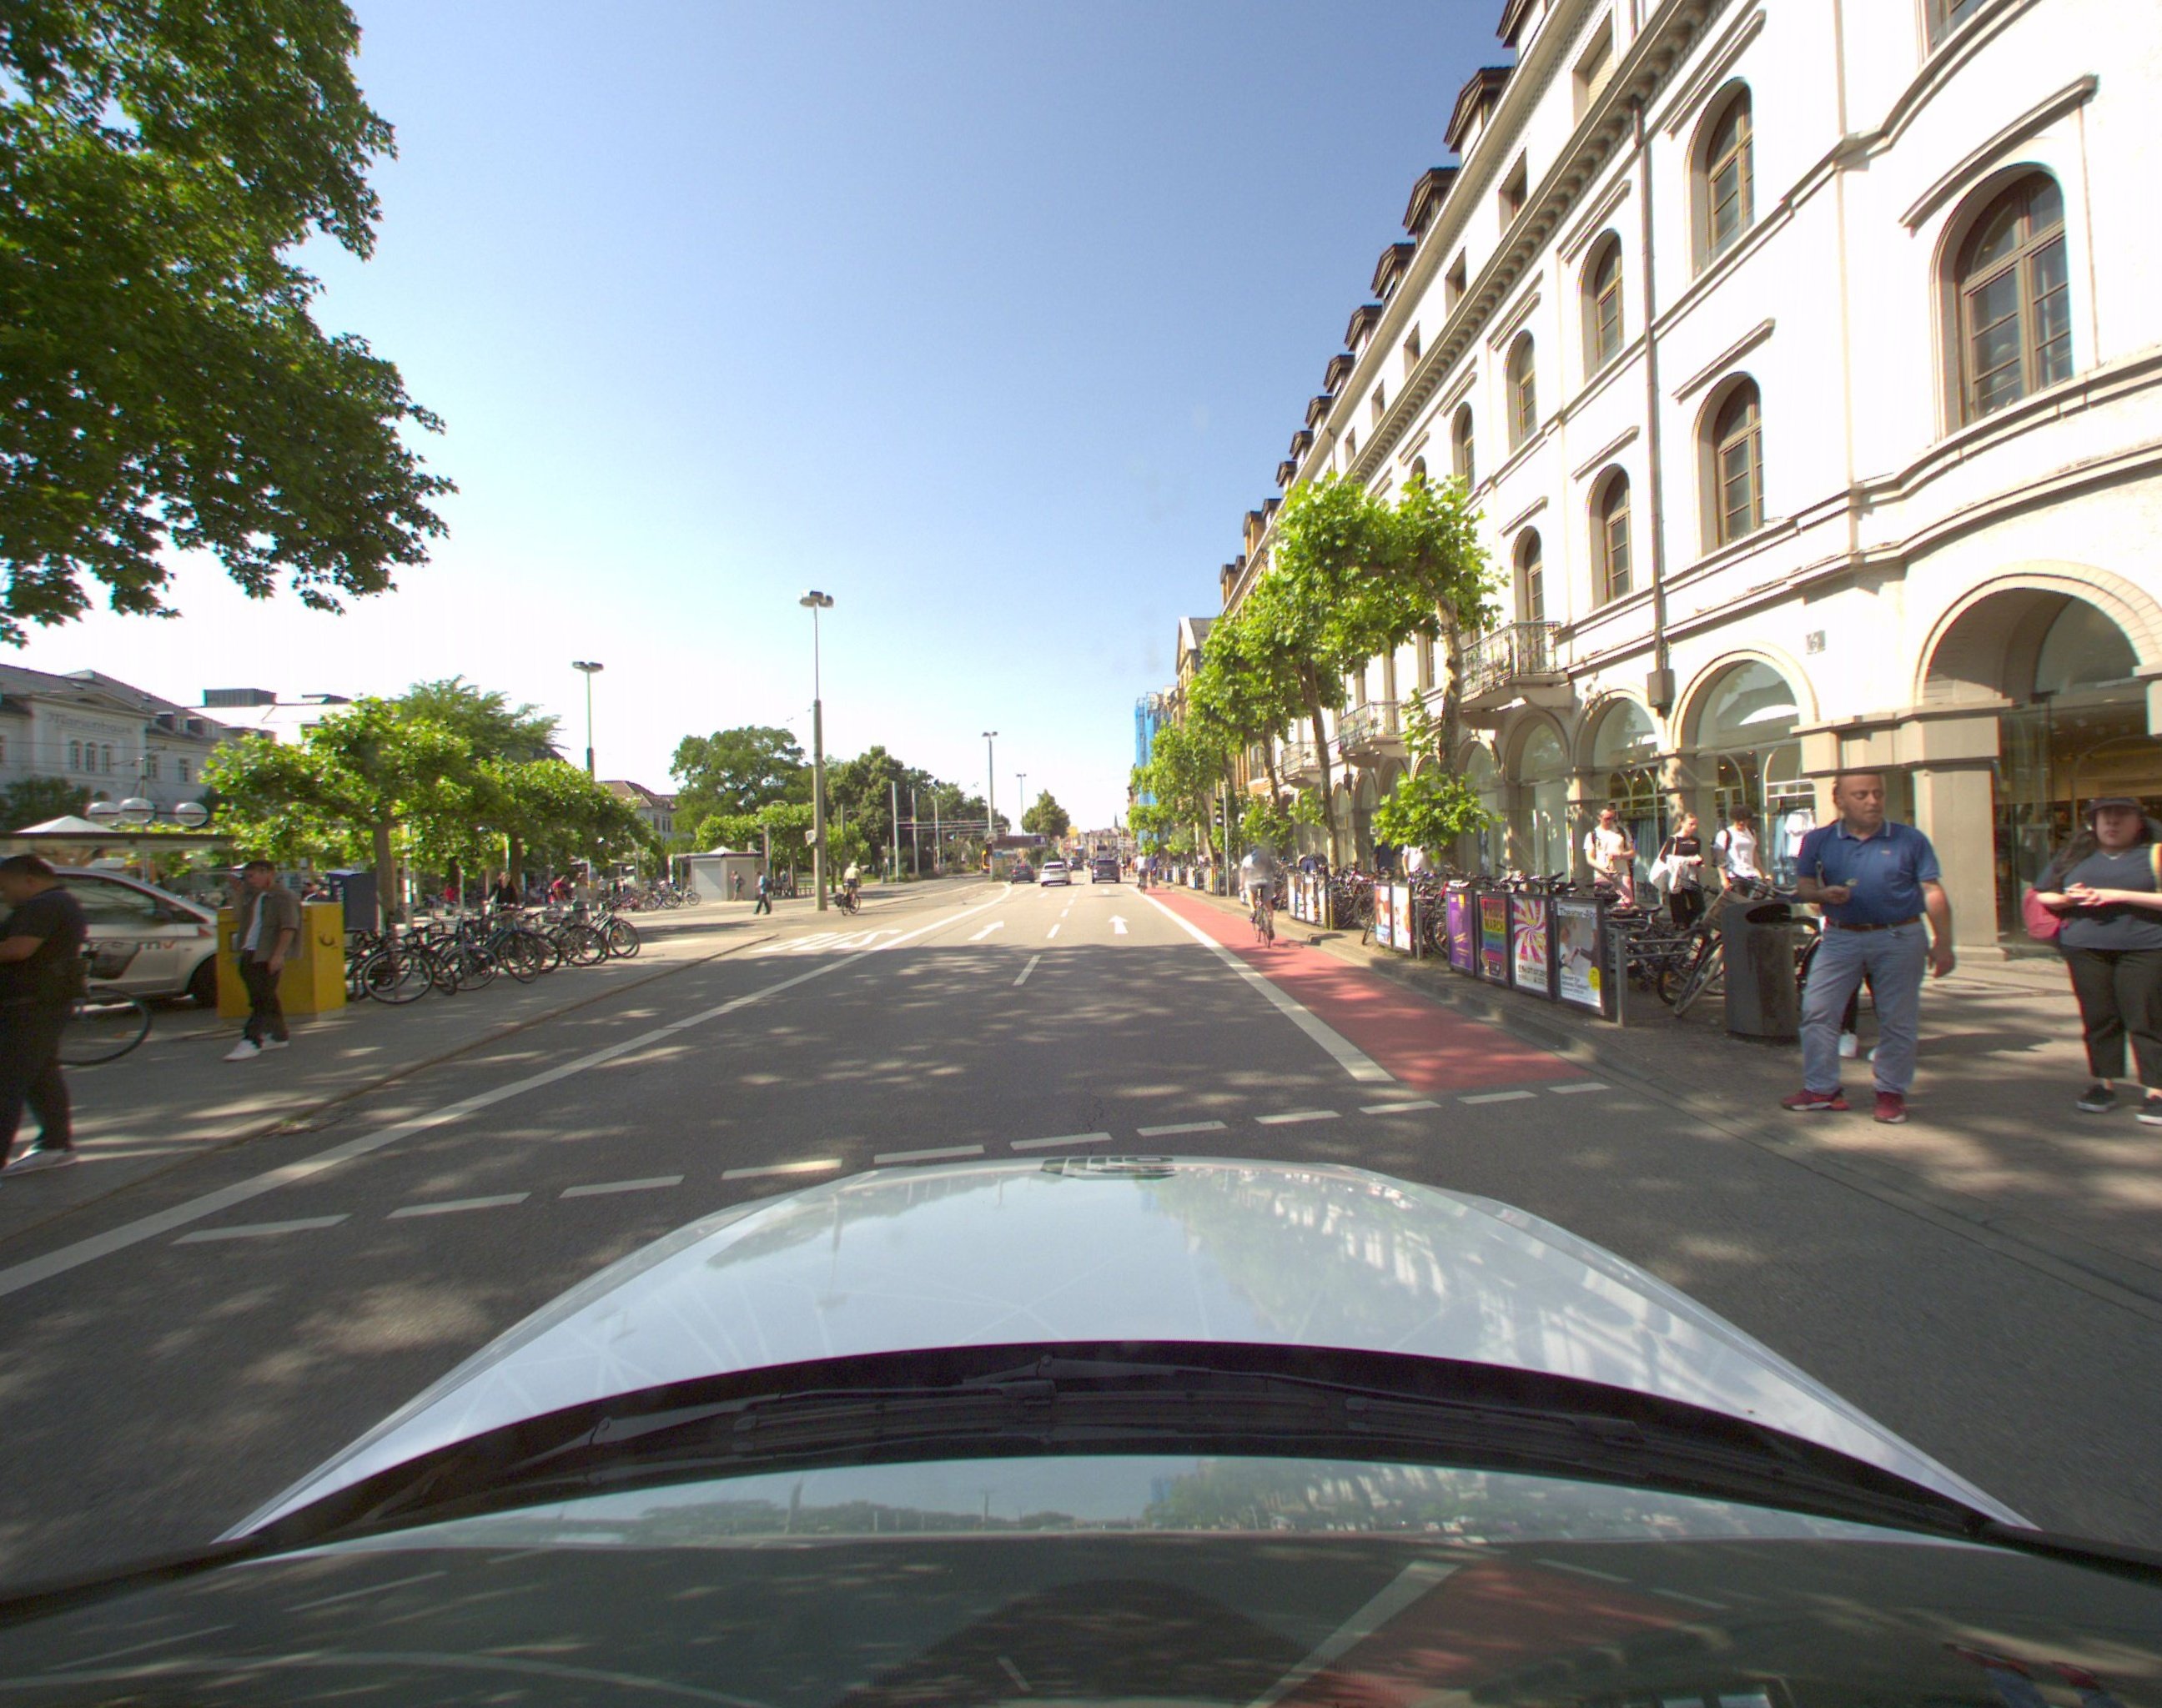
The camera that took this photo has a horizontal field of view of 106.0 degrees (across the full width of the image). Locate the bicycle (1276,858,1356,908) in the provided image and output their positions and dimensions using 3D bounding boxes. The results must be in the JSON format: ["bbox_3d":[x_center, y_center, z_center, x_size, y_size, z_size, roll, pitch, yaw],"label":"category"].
[{"bbox_3d":[5.751,0.707,19.980,1.748,1.147,0.592,-2,-1,-2],"label":"bicycle"}]

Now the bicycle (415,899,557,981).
[{"bbox_3d":[-9.015,1.294,12.365,1.748,1.147,0.482,-2,-1,-2],"label":"bicycle"}]

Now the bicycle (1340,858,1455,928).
[{"bbox_3d":[5.497,0.669,14.181,1.748,1.147,0.592,-2,-1,-2],"label":"bicycle"}]

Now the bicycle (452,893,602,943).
[{"bbox_3d":[-11.825,1.359,17.438,2.609,1.023,0.831,0,-1,0],"label":"bicycle"}]

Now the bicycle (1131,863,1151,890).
[{"bbox_3d":[2.555,0.955,34.854,0.732,1.093,1.897,0,-1,-1],"label":"bicycle"}]

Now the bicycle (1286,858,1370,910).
[{"bbox_3d":[5.750,0.700,19.020,1.748,1.147,0.592,-2,-1,-2],"label":"bicycle"}]

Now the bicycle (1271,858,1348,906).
[{"bbox_3d":[5.788,0.711,20.677,1.748,1.147,0.592,-2,-1,-2],"label":"bicycle"}]

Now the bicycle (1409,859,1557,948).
[{"bbox_3d":[5.545,0.669,11.279,1.748,1.147,0.592,-2,-1,-2],"label":"bicycle"}]

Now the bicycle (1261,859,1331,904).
[{"bbox_3d":[5.764,0.724,21.876,1.748,1.147,0.482,-2,-1,-2],"label":"bicycle"}]

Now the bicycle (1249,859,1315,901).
[{"bbox_3d":[5.717,0.741,23.181,1.748,1.147,0.482,-2,-1,-2],"label":"bicycle"}]

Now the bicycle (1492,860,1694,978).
[{"bbox_3d":[5.370,0.660,8.589,1.748,1.147,0.592,-2,-1,-2],"label":"bicycle"}]

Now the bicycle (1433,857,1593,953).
[{"bbox_3d":[5.558,0.640,10.523,1.748,1.147,0.592,-2,-1,-2],"label":"bicycle"}]

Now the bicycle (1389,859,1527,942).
[{"bbox_3d":[5.530,0.670,12.000,1.748,1.147,0.592,-2,-1,-2],"label":"bicycle"}]

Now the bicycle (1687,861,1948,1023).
[{"bbox_3d":[5.610,0.653,6.237,1.624,1.147,0.425,-2,-1,-2],"label":"bicycle"}]

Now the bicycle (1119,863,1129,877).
[{"bbox_3d":[3.461,1.313,66.038,0.731,1.093,1.897,0,-1,0],"label":"bicycle"}]

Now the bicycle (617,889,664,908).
[{"bbox_3d":[-21.090,2.141,39.018,1.866,0.856,0.544,0,-1,-13],"label":"bicycle"}]

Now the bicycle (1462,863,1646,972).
[{"bbox_3d":[5.364,0.701,9.294,1.748,1.147,0.592,-2,-1,-2],"label":"bicycle"}]

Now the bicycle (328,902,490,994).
[{"bbox_3d":[-9.103,1.258,11.061,1.748,1.147,0.482,-2,-1,-2],"label":"bicycle"}]

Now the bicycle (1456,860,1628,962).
[{"bbox_3d":[5.591,0.674,9.922,1.748,1.158,0.592,-2,-1,-2],"label":"bicycle"}]

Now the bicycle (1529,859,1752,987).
[{"bbox_3d":[5.393,0.645,7.903,1.748,1.147,0.592,-2,-1,-2],"label":"bicycle"}]

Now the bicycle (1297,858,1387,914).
[{"bbox_3d":[5.660,0.691,17.686,1.748,1.147,0.592,-2,-1,-2],"label":"bicycle"}]

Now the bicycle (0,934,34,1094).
[{"bbox_3d":[-8.759,1.199,5.860,1.748,1.147,0.482,-2,-1,-2],"label":"bicycle"}]

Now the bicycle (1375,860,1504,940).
[{"bbox_3d":[5.525,0.696,12.585,1.748,1.147,0.518,-2,-1,-2],"label":"bicycle"}]

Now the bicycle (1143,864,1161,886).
[{"bbox_3d":[3.534,1.033,40.763,0.732,1.093,1.910,0,-1,-1],"label":"bicycle"}]

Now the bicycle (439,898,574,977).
[{"bbox_3d":[-9.096,1.314,12.916,1.748,1.147,0.482,-2,-1,-2],"label":"bicycle"}]

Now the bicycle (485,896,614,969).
[{"bbox_3d":[-9.082,1.328,13.948,1.855,1.147,0.482,-2,-1,-2],"label":"bicycle"}]

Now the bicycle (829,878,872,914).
[{"bbox_3d":[-7.959,1.435,28.218,0.814,1.120,1.876,-4,-1,3],"label":"bicycle"}]

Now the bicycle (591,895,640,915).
[{"bbox_3d":[-21.327,2.319,37.335,1.866,0.856,0.544,0,-1,-13],"label":"bicycle"}]

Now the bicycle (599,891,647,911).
[{"bbox_3d":[-21.331,2.175,37.974,1.866,0.872,0.581,0,-1,-13],"label":"bicycle"}]

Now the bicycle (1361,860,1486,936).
[{"bbox_3d":[5.525,0.701,13.183,1.748,1.147,0.598,-2,-1,-2],"label":"bicycle"}]

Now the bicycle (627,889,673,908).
[{"bbox_3d":[-21.025,2.171,39.731,1.866,0.856,0.544,0,-1,-13],"label":"bicycle"}]

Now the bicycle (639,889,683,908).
[{"bbox_3d":[-21.102,2.226,40.908,1.866,0.869,0.579,0,-1,-13],"label":"bicycle"}]

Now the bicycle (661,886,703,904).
[{"bbox_3d":[-20.843,2.136,42.589,1.866,0.869,0.579,0,-1,-13],"label":"bicycle"}]

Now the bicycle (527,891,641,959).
[{"bbox_3d":[-9.129,1.297,14.987,1.748,1.147,0.482,-2,-1,-2],"label":"bicycle"}]

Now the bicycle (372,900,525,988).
[{"bbox_3d":[-9.000,1.265,11.622,1.748,1.147,0.482,-2,-1,-2],"label":"bicycle"}]

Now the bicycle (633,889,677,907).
[{"bbox_3d":[-21.075,2.160,40.314,1.866,0.856,0.544,0,-1,-13],"label":"bicycle"}]

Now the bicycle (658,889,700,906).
[{"bbox_3d":[-20.720,2.235,42.019,1.866,0.869,0.579,0,-1,-13],"label":"bicycle"}]

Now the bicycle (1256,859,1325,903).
[{"bbox_3d":[5.767,0.732,22.486,1.748,1.147,0.482,-2,-1,-2],"label":"bicycle"}]

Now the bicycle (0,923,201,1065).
[{"bbox_3d":[-8.965,1.227,7.217,1.748,1.147,0.482,-2,-1,-2],"label":"bicycle"}]

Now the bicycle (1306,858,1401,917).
[{"bbox_3d":[5.651,0.685,16.922,1.748,1.147,0.592,-2,-1,-2],"label":"bicycle"}]

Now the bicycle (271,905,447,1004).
[{"bbox_3d":[-9.122,1.257,10.319,1.748,1.147,0.482,-2,-1,-2],"label":"bicycle"}]

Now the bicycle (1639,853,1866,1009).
[{"bbox_3d":[5.517,0.612,6.723,1.525,1.197,0.425,-2,-1,-2],"label":"bicycle"}]

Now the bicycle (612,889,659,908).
[{"bbox_3d":[-21.046,2.081,38.526,1.866,0.856,0.544,0,-1,-13],"label":"bicycle"}]

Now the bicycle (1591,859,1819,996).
[{"bbox_3d":[5.586,0.637,7.329,1.651,1.147,0.522,-2,-1,-2],"label":"bicycle"}]

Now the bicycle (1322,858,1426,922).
[{"bbox_3d":[5.566,0.677,15.516,1.748,1.147,0.592,-2,-1,-2],"label":"bicycle"}]

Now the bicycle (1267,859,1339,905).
[{"bbox_3d":[5.790,0.720,21.280,1.748,1.147,0.482,-2,-1,-2],"label":"bicycle"}]

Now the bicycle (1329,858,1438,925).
[{"bbox_3d":[5.506,0.675,14.881,1.748,1.147,0.592,-2,-1,-2],"label":"bicycle"}]

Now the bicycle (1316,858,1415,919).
[{"bbox_3d":[5.645,0.680,16.194,1.748,1.147,0.592,-2,-1,-2],"label":"bicycle"}]
